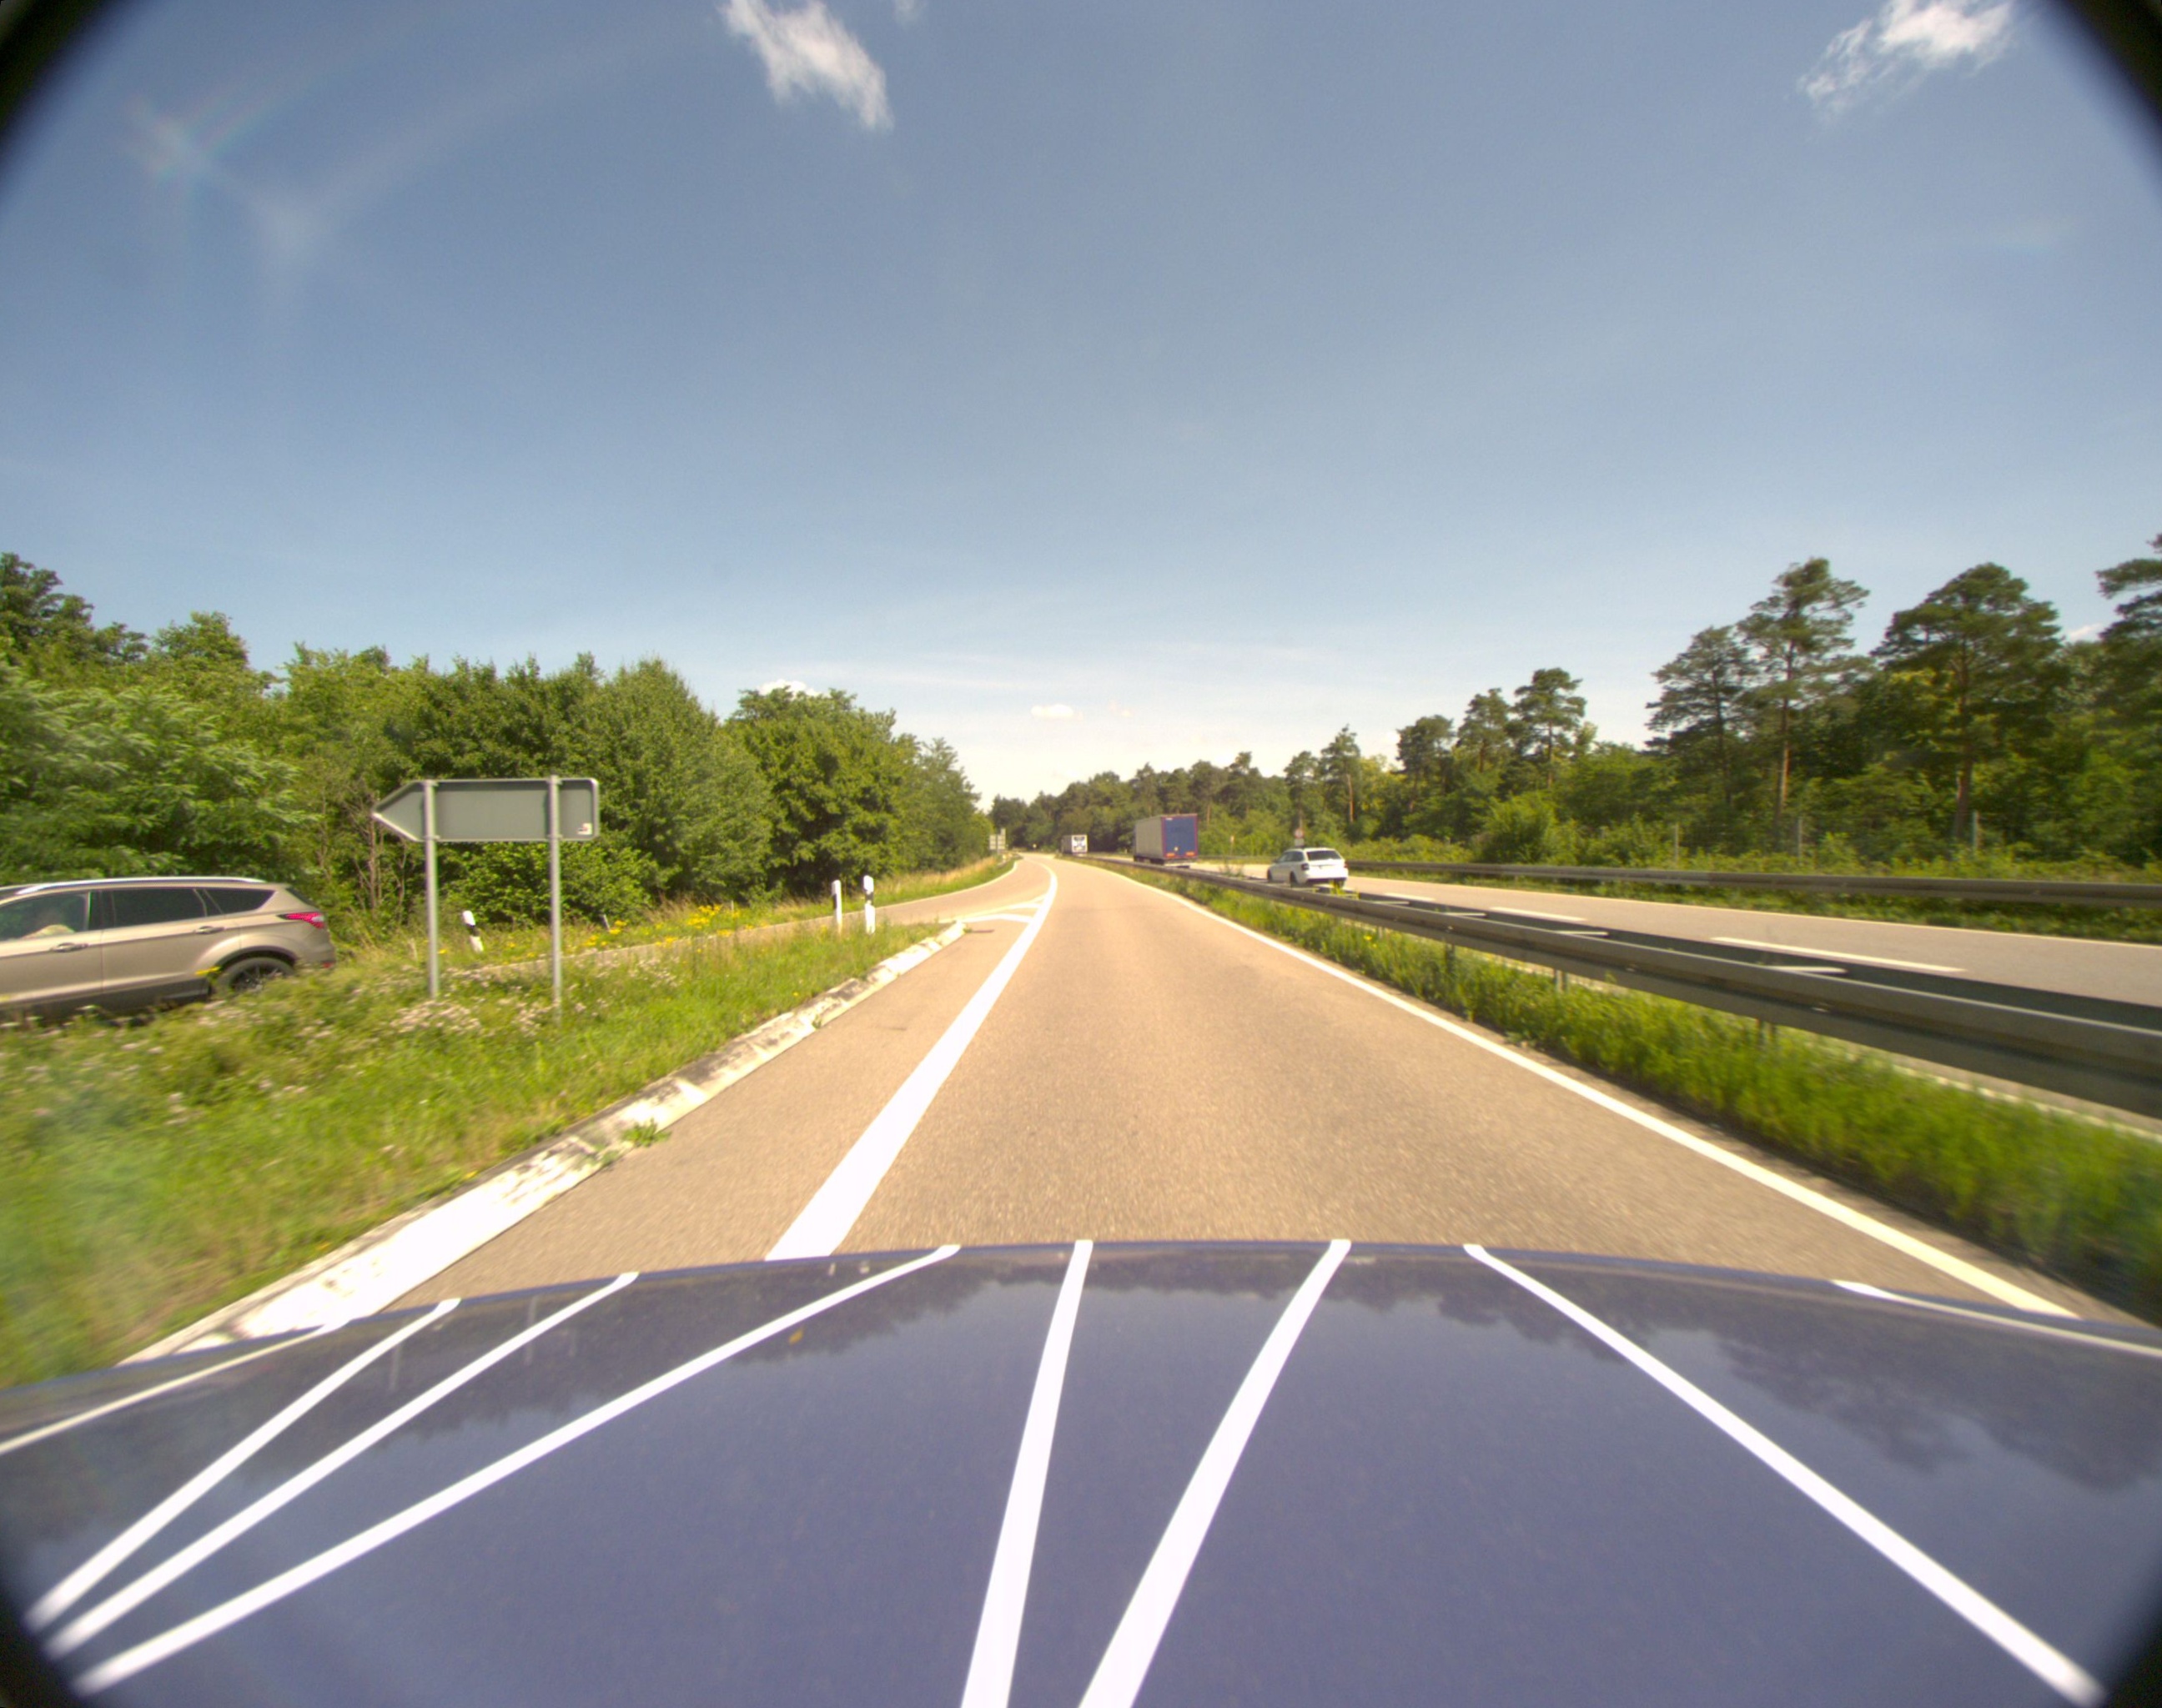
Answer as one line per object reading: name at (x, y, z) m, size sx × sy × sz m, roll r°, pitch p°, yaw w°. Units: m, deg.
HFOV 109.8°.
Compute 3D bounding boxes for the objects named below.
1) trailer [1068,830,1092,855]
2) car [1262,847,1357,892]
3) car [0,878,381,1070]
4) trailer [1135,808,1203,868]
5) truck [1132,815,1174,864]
trailer at (-0.241, -2.026, 134.493) m, size 2.676 × 4.164 × 14.053 m, roll -2°, pitch 1°, yaw -6°
car at (8.185, 0.500, 27.708) m, size 1.799 × 1.436 × 4.604 m, roll -2°, pitch 0°, yaw -3°
car at (-11.014, 1.266, 8.171) m, size 1.896 × 1.656 × 4.672 m, roll -3°, pitch 0°, yaw 22°
trailer at (6.731, -1.197, 60.915) m, size 2.753 × 4.148 × 14.576 m, roll -2°, pitch 1°, yaw -3°
truck at (6.323, -1.264, 67.813) m, size 2.775 × 4.163 × 5.595 m, roll -2°, pitch 1°, yaw -3°
